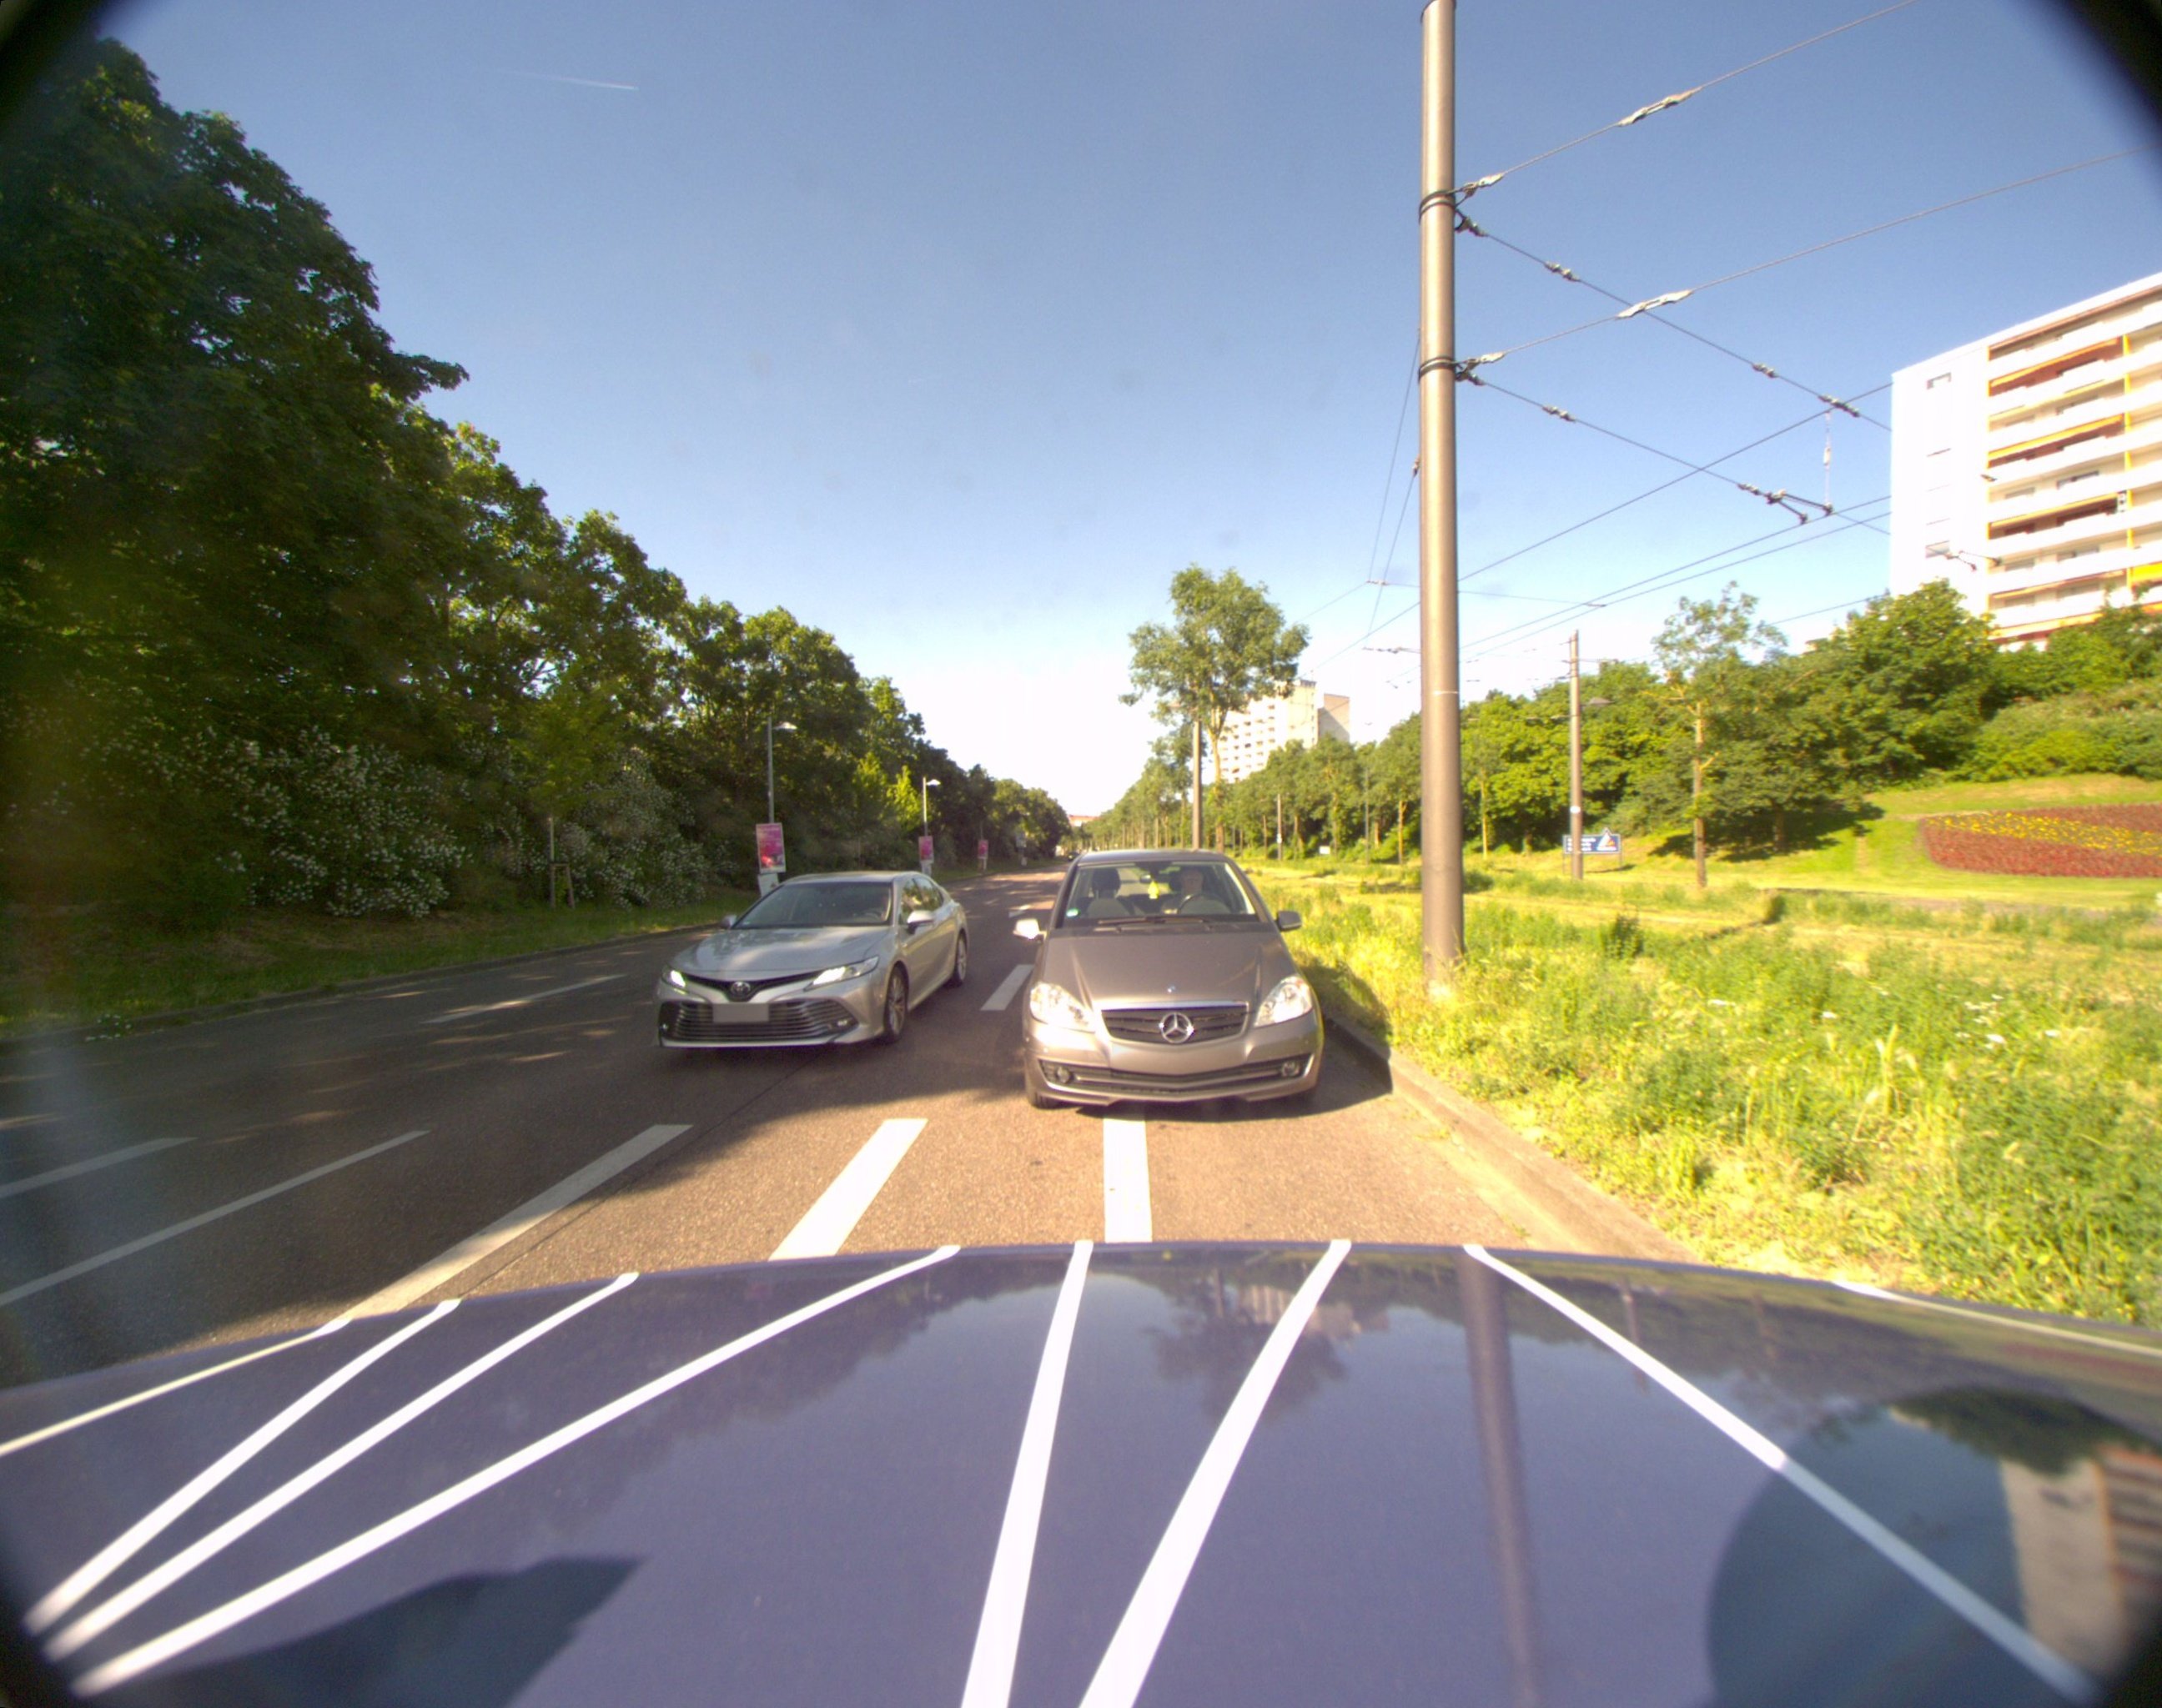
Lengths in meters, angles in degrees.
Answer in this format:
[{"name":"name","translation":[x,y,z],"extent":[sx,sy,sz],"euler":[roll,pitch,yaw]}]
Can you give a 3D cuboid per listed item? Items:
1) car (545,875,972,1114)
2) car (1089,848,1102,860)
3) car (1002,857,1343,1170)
[{"name":"car","translation":[-2.540,1.029,7.544],"extent":[2.069,1.451,4.749],"euler":[-1,0,2]},{"name":"car","translation":[2.276,-0.020,117.169],"extent":[1.822,1.893,4.622],"euler":[-1,0,2]},{"name":"car","translation":[0.514,0.854,6.207],"extent":[1.777,1.597,4.384],"euler":[-1,0,1]}]
